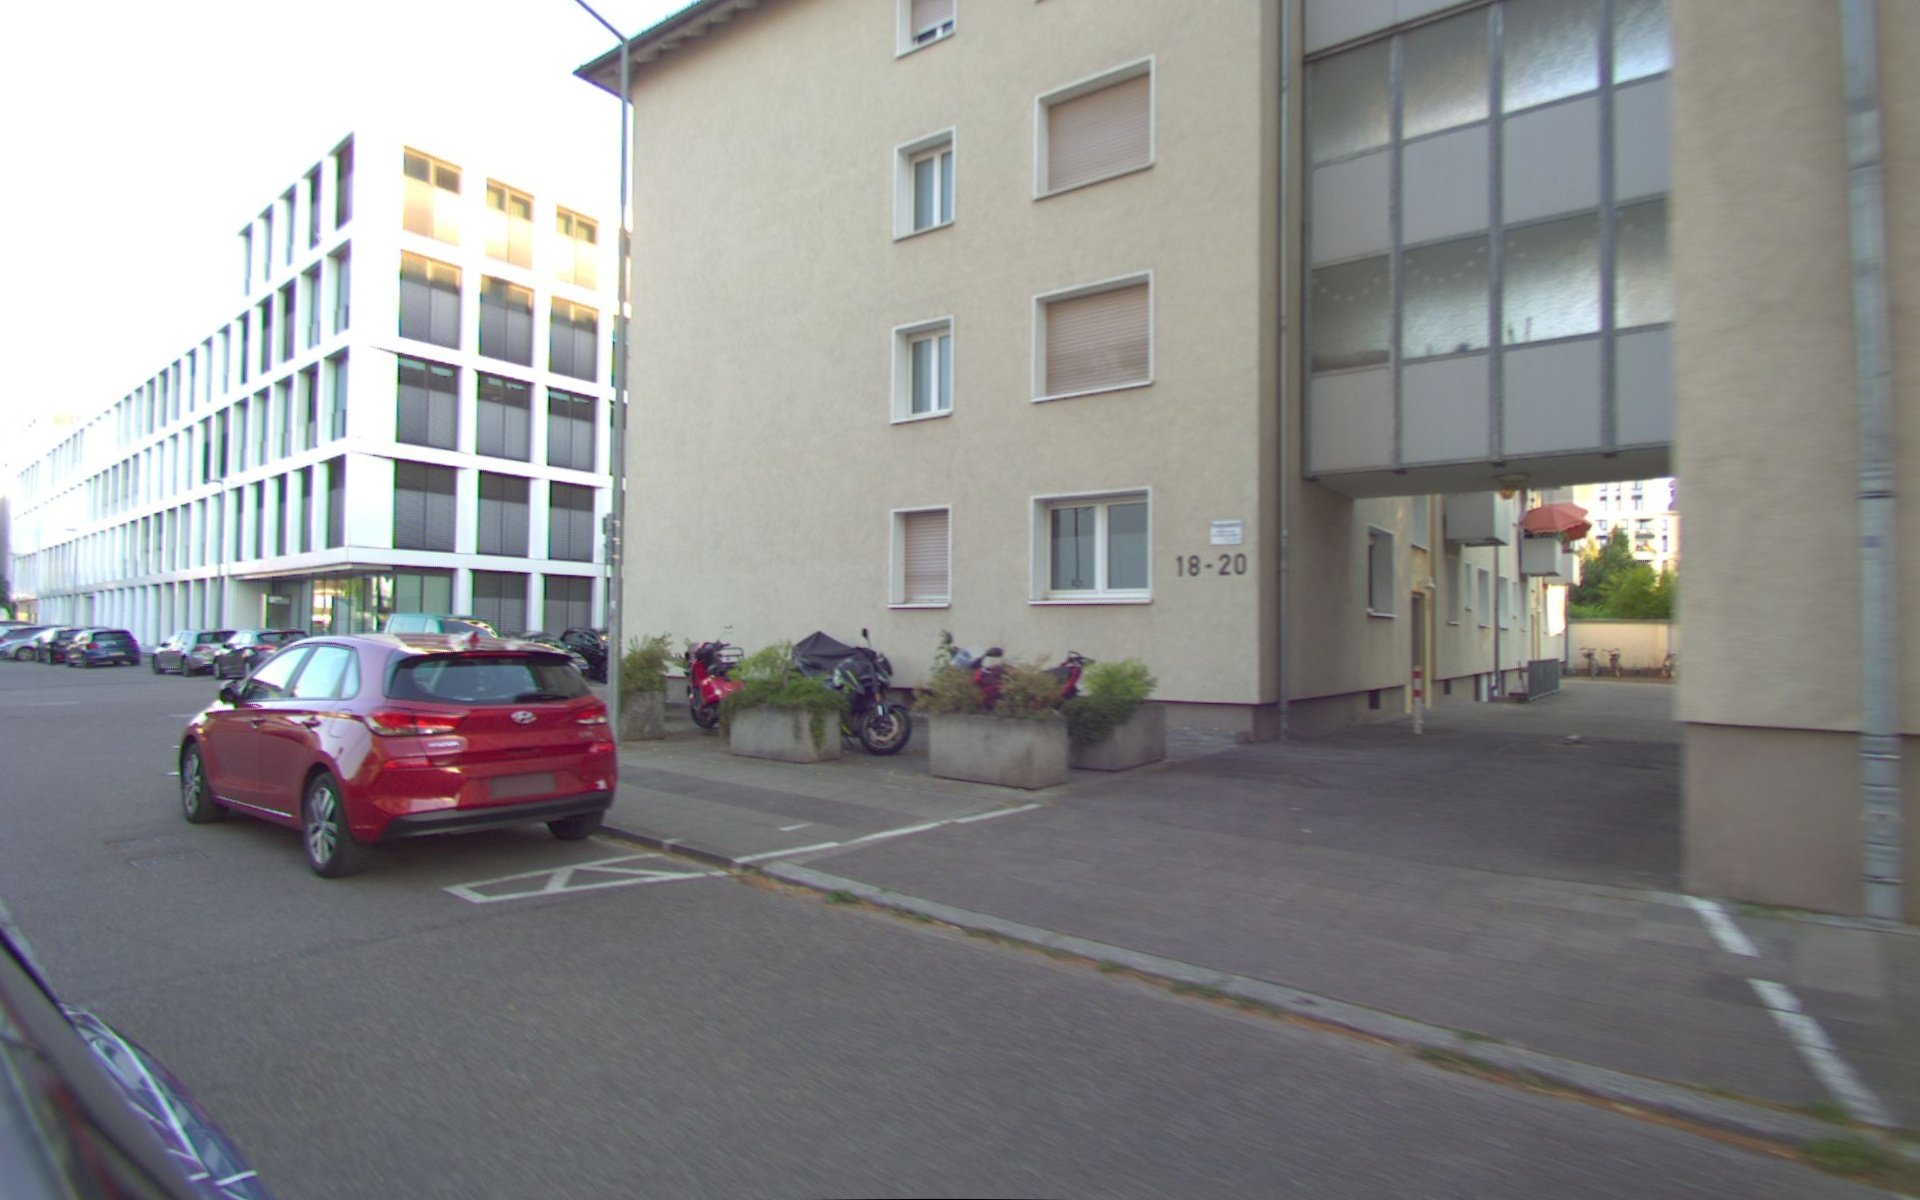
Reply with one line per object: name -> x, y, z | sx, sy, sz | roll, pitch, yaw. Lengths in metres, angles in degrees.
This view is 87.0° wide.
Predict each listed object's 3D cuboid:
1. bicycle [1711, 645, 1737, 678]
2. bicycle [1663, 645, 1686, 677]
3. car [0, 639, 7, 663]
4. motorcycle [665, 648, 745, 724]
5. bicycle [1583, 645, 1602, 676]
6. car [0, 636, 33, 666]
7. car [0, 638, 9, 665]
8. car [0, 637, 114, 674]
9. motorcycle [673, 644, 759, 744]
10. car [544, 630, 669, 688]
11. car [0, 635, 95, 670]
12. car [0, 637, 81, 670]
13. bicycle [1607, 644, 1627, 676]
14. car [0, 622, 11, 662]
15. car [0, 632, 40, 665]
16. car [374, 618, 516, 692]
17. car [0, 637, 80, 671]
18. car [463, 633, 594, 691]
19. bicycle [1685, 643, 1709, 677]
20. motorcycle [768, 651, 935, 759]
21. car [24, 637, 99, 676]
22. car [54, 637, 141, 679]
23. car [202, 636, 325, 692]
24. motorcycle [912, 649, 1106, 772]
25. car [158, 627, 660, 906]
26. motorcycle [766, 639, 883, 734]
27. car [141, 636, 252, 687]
bicycle -> 29.205, 2.336, 38.680 | 0.517, 1.237, 1.828 | -1, -3, 29
bicycle -> 27.725, 2.358, 39.291 | 0.517, 1.237, 1.828 | -1, -3, 29
car -> -60.976, 3.168, 61.515 | 1.793, 1.507, 4.263 | -3, -3, 40
motorcycle -> -4.015, 1.306, 15.843 | 0.713, 1.087, 2.087 | 1, -3, -28
bicycle -> 25.188, 2.395, 40.308 | 0.517, 1.237, 1.828 | -1, -3, 29
car -> -50.693, 2.680, 52.567 | 1.696, 1.523, 3.627 | -3, -3, 42
car -> -57.262, 3.017, 58.070 | 1.691, 1.534, 3.746 | -3, -3, 37
car -> -40.535, 2.443, 45.279 | 1.686, 1.523, 3.886 | -3, -3, 40
motorcycle -> -3.162, 1.146, 12.985 | 0.679, 1.169, 2.040 | 1, -3, -25
car -> -11.527, 1.853, 32.879 | 4.325, 1.672, 1.713 | 0, -1, 38
car -> -42.698, 2.441, 46.997 | 1.686, 1.523, 3.618 | -3, -3, 39
car -> -46.227, 2.654, 50.042 | 1.794, 1.523, 3.924 | -3, -3, 40
bicycle -> 25.980, 2.349, 40.033 | 0.517, 1.237, 1.828 | -1, -3, 29
car -> -66.240, 2.843, 66.569 | 2.076, 2.653, 5.326 | -3, -3, 40
car -> -52.461, 2.619, 54.173 | 2.004, 1.719, 4.568 | -3, -3, 42
car -> -14.886, 1.531, 29.167 | 4.681, 1.995, 1.781 | -1, -3, 37
car -> -44.485, 2.589, 48.228 | 1.686, 1.523, 3.618 | -3, -3, 39
car -> -13.252, 1.834, 30.984 | 4.325, 1.561, 1.763 | 0, -1, 38
bicycle -> 28.237, 2.284, 38.777 | 0.517, 1.237, 1.828 | -1, -3, 29
motorcycle -> -1.250, 1.121, 11.299 | 2.034, 1.087, 0.675 | -2, -3, 42
car -> -37.715, 2.334, 42.446 | 4.197, 1.449, 1.632 | -2, 0, 39
car -> -33.095, 2.211, 38.801 | 4.177, 1.449, 1.633 | -2, 0, 37
car -> -20.449, 1.837, 29.659 | 4.324, 1.490, 1.763 | -2, -2, 38
motorcycle -> 0.534, 1.068, 10.252 | 2.096, 1.114, 0.561 | 2, -3, -38
car -> -4.177, 0.973, 7.421 | 4.074, 1.484, 1.827 | -2, -3, 39
motorcycle -> -1.999, 1.209, 14.700 | 0.714, 1.274, 2.085 | 2, -3, -39
car -> -25.076, 1.981, 33.204 | 4.174, 1.490, 1.696 | -2, 0, 35
